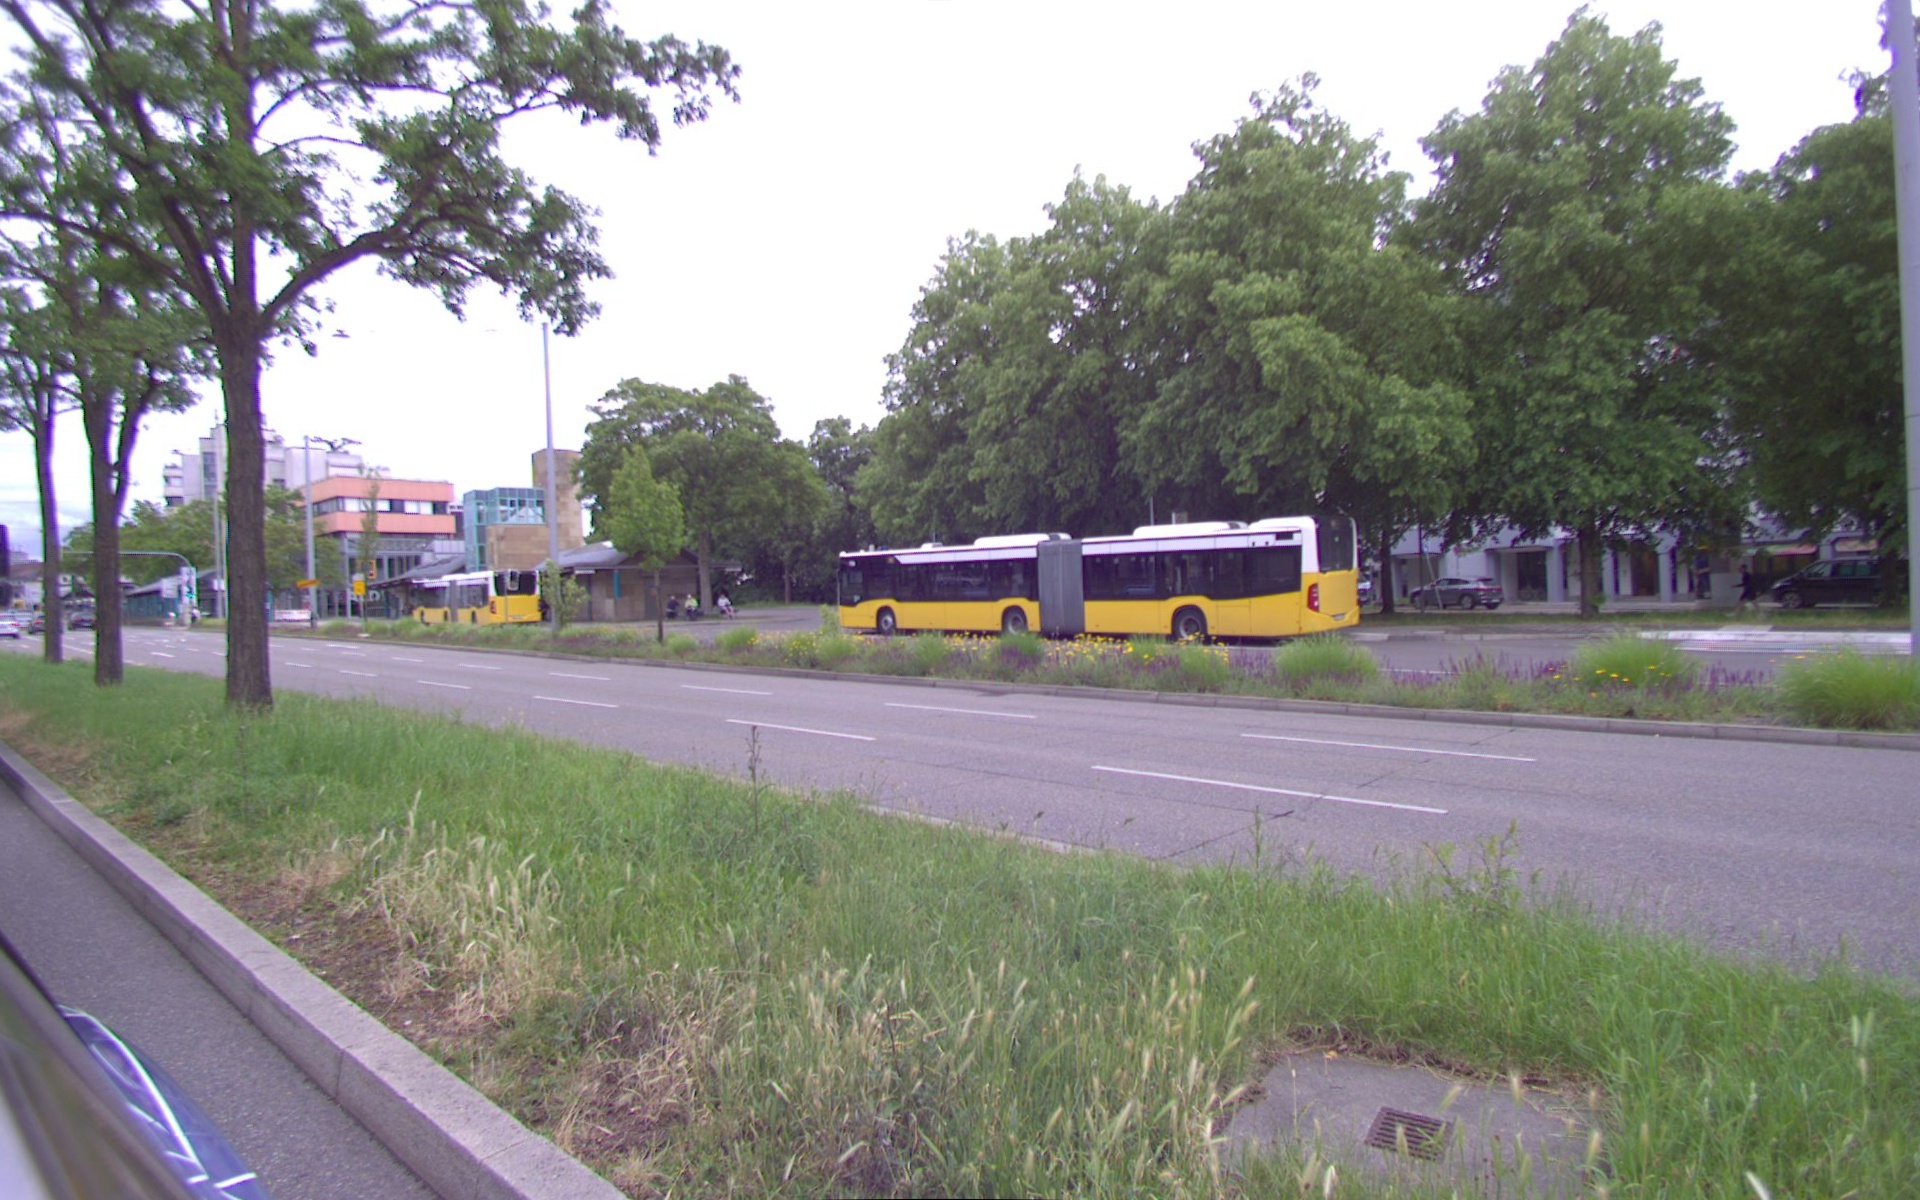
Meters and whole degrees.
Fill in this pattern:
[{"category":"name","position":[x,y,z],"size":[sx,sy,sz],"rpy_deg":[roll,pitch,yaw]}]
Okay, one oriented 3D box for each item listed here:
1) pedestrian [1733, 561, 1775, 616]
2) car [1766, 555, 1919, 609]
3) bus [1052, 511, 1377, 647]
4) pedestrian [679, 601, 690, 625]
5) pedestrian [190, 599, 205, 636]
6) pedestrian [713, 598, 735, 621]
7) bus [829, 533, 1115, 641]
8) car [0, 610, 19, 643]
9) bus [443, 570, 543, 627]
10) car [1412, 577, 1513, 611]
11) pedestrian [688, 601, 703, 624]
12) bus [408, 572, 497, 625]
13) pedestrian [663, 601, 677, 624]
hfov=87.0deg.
[{"category":"pedestrian","position":[23.307,-0.344,29.691],"size":[0.904,1.569,0.761],"rpy_deg":[-2,0,41]},{"category":"car","position":[33.139,-0.634,37.797],"size":[1.758,1.861,4.429],"rpy_deg":[-1,0,-35]},{"category":"bus","position":[6.357,-0.424,26.458],"size":[2.849,3.025,7.889],"rpy_deg":[-1,0,-44]},{"category":"pedestrian","position":[-13.727,0.633,50.408],"size":[0.361,1.175,0.900],"rpy_deg":[-1,0,-23]},{"category":"pedestrian","position":[-58.225,1.316,77.313],"size":[0.889,2.809,1.150],"rpy_deg":[-1,0,-36]},{"category":"pedestrian","position":[-11.908,0.472,51.122],"size":[0.924,1.180,0.641],"rpy_deg":[-1,0,41]},{"category":"bus","position":[0.000,-0.307,33.085],"size":[2.848,3.025,10.401],"rpy_deg":[-1,0,-44]},{"category":"car","position":[-59.975,1.666,63.036],"size":[4.000,2.029,1.703],"rpy_deg":[-1,0,43]},{"category":"bus","position":[-25.650,-0.028,55.305],"size":[2.845,2.830,9.194],"rpy_deg":[-1,0,-38]},{"category":"car","position":[23.658,-0.263,47.786],"size":[1.729,1.524,4.013],"rpy_deg":[-1,0,-25]},{"category":"pedestrian","position":[-13.218,0.626,50.558],"size":[0.589,1.171,0.745],"rpy_deg":[-1,0,-23]},{"category":"bus","position":[-31.301,-0.015,62.166],"size":[2.846,3.025,9.191],"rpy_deg":[-1,0,-40]},{"category":"pedestrian","position":[-14.889,0.657,52.002],"size":[0.589,1.171,0.745],"rpy_deg":[-1,0,-22]}]
